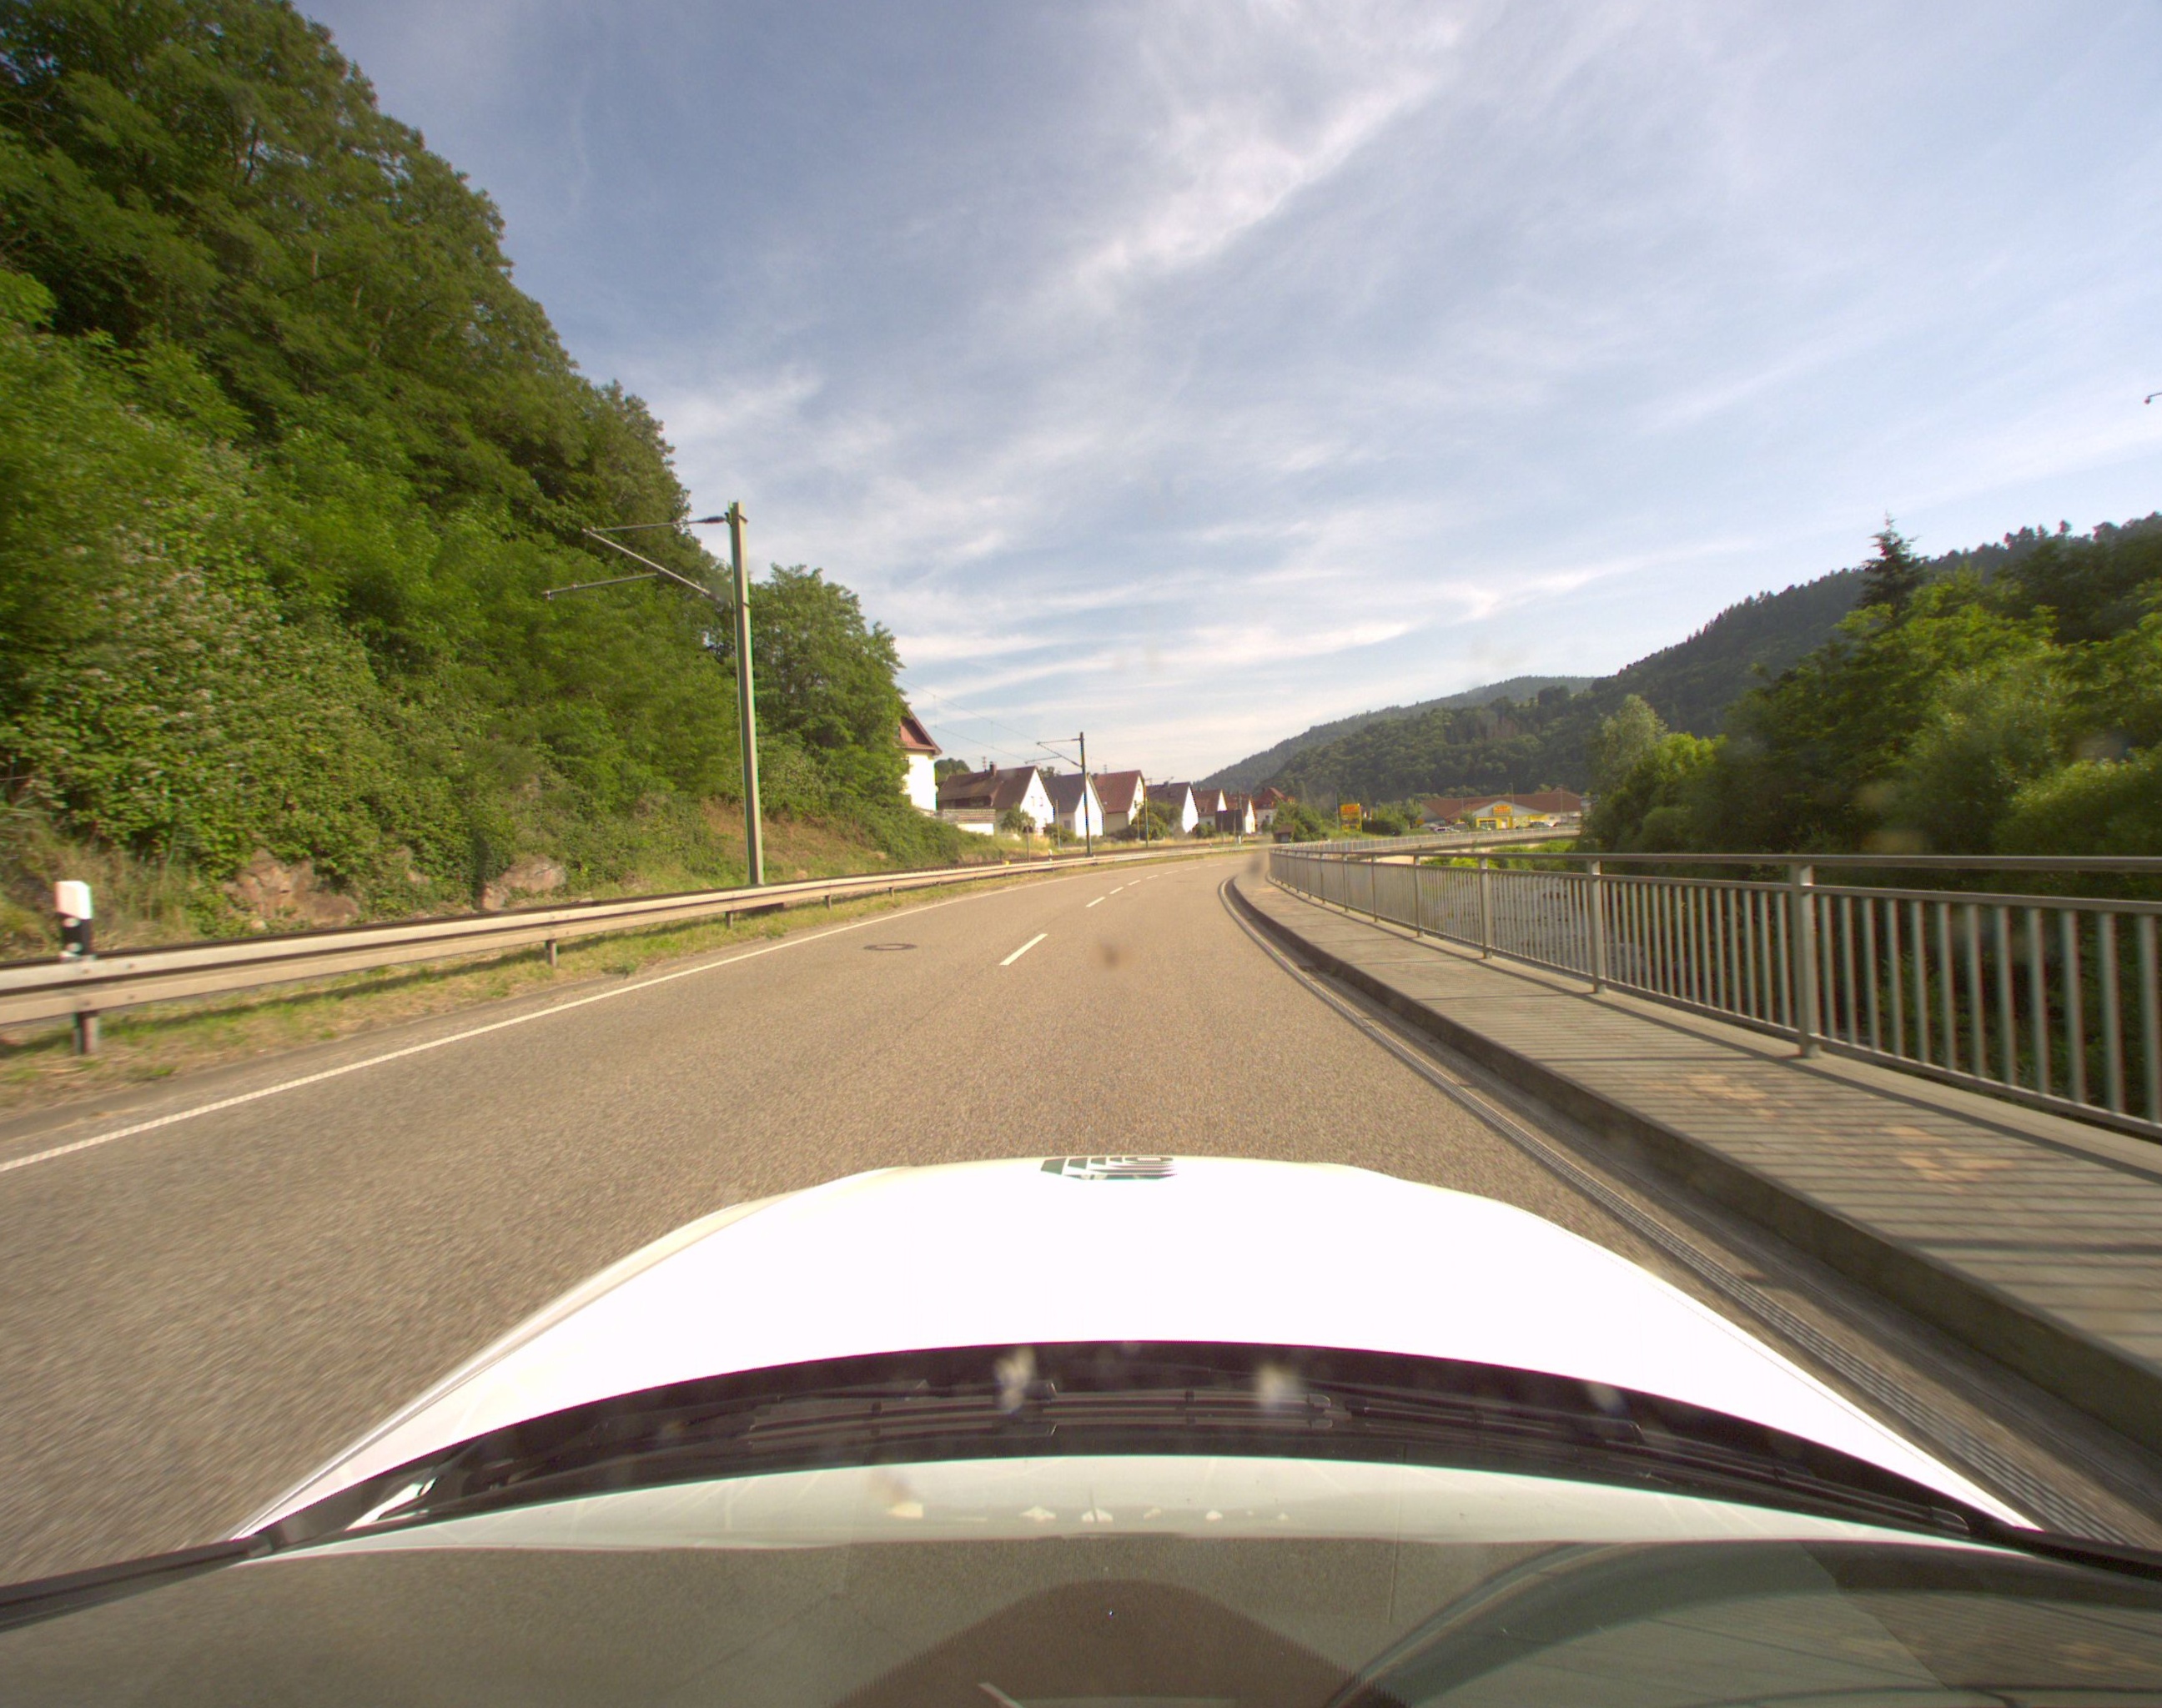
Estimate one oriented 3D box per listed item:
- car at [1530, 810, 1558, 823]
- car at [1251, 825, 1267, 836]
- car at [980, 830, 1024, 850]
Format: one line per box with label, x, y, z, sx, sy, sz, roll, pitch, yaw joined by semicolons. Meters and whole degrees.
car;84.159;-6.850;148.157;2.006;2.014;3.961;2;-1;-30
car;33.458;-4.471;152.977;1.976;1.881;4.023;5;3;23
car;-7.684;-1.368;78.867;4.018;1.674;1.642;-3;4;-14
